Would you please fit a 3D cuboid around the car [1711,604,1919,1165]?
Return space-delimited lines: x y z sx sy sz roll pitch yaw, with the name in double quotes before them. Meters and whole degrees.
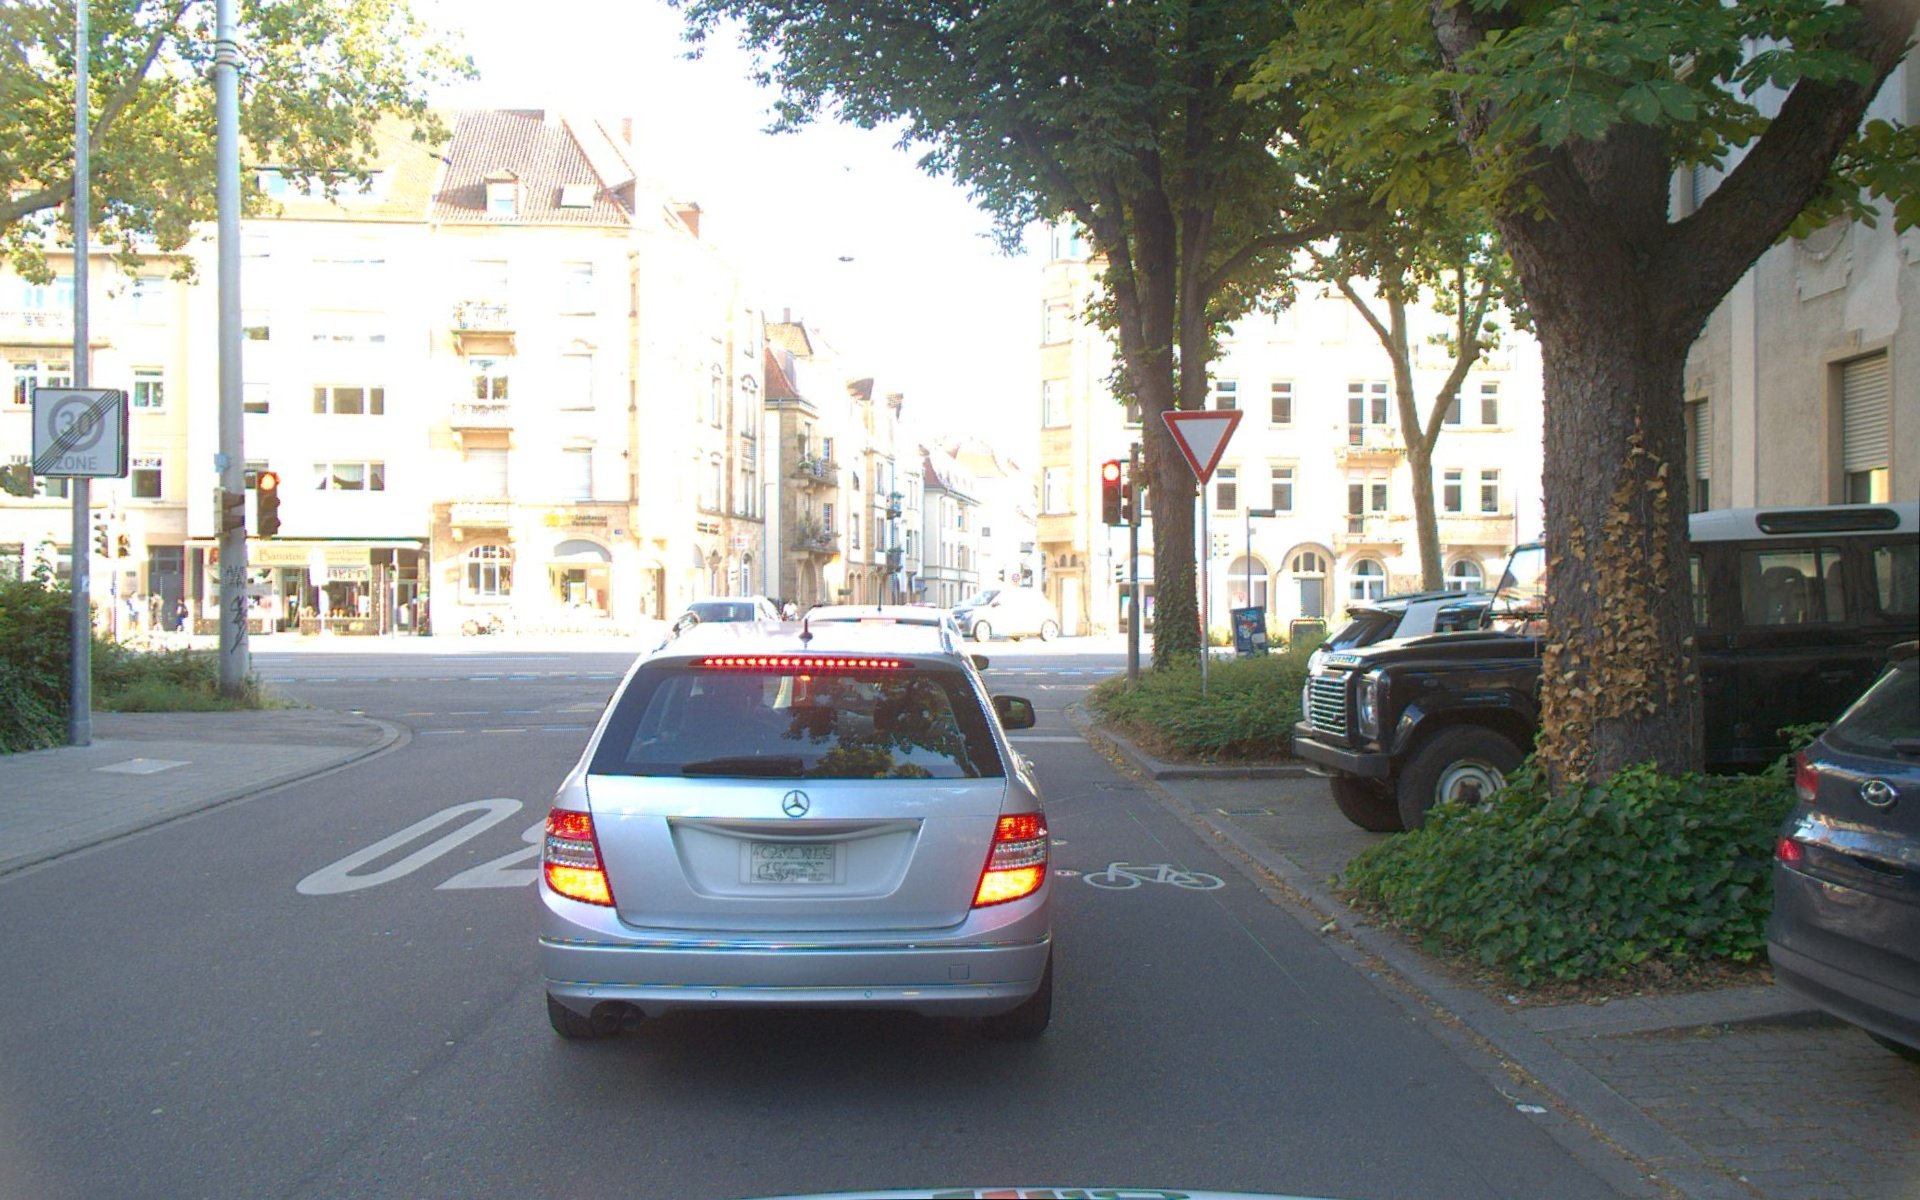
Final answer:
"car" 4.295 0.685 4.574 3.675 1.446 1.627 -2 -1 -4

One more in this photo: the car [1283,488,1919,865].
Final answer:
"car" 4.424 0.397 10.238 4.402 1.990 1.791 -2 0 -4

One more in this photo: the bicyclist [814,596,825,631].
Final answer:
"bicyclist" -6.230 0.575 73.366 0.457 1.547 0.693 0 0 -4

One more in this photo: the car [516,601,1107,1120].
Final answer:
"car" -0.512 0.753 6.470 1.657 1.454 3.490 1 0 -3

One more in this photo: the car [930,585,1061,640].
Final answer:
"car" 1.053 0.336 48.403 3.545 1.527 1.603 -1 1 -32

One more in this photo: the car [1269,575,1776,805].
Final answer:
"car" 4.388 0.655 13.186 3.415 1.614 1.708 -1 0 -7

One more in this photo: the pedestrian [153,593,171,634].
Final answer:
"pedestrian" -30.094 0.521 62.372 0.557 1.537 0.499 0 0 -20

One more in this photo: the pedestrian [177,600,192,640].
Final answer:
"pedestrian" -29.833 0.758 63.634 0.466 1.537 0.428 0 0 -21

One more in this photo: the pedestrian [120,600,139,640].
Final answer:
"pedestrian" -32.080 0.751 63.886 0.532 1.537 0.502 0 0 -43

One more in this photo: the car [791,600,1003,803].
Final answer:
"car" -0.518 0.723 13.572 1.502 1.415 3.597 0 0 -2

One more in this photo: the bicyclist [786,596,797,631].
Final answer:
"bicyclist" -7.476 0.580 73.271 0.457 1.541 0.655 0 0 -4

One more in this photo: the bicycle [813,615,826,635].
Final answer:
"bicycle" -6.224 1.108 73.235 0.557 0.849 1.564 0 0 -4

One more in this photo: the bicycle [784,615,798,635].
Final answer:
"bicycle" -7.487 1.119 73.299 0.557 0.849 1.564 0 0 -4

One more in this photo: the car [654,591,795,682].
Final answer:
"car" -4.223 0.615 30.335 1.744 1.487 4.302 0 1 3

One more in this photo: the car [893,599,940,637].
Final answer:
"car" -2.301 0.940 88.692 1.896 1.993 4.153 0 0 7

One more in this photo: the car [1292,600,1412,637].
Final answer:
"car" 11.804 0.563 49.935 3.296 1.087 1.380 0 0 -2
